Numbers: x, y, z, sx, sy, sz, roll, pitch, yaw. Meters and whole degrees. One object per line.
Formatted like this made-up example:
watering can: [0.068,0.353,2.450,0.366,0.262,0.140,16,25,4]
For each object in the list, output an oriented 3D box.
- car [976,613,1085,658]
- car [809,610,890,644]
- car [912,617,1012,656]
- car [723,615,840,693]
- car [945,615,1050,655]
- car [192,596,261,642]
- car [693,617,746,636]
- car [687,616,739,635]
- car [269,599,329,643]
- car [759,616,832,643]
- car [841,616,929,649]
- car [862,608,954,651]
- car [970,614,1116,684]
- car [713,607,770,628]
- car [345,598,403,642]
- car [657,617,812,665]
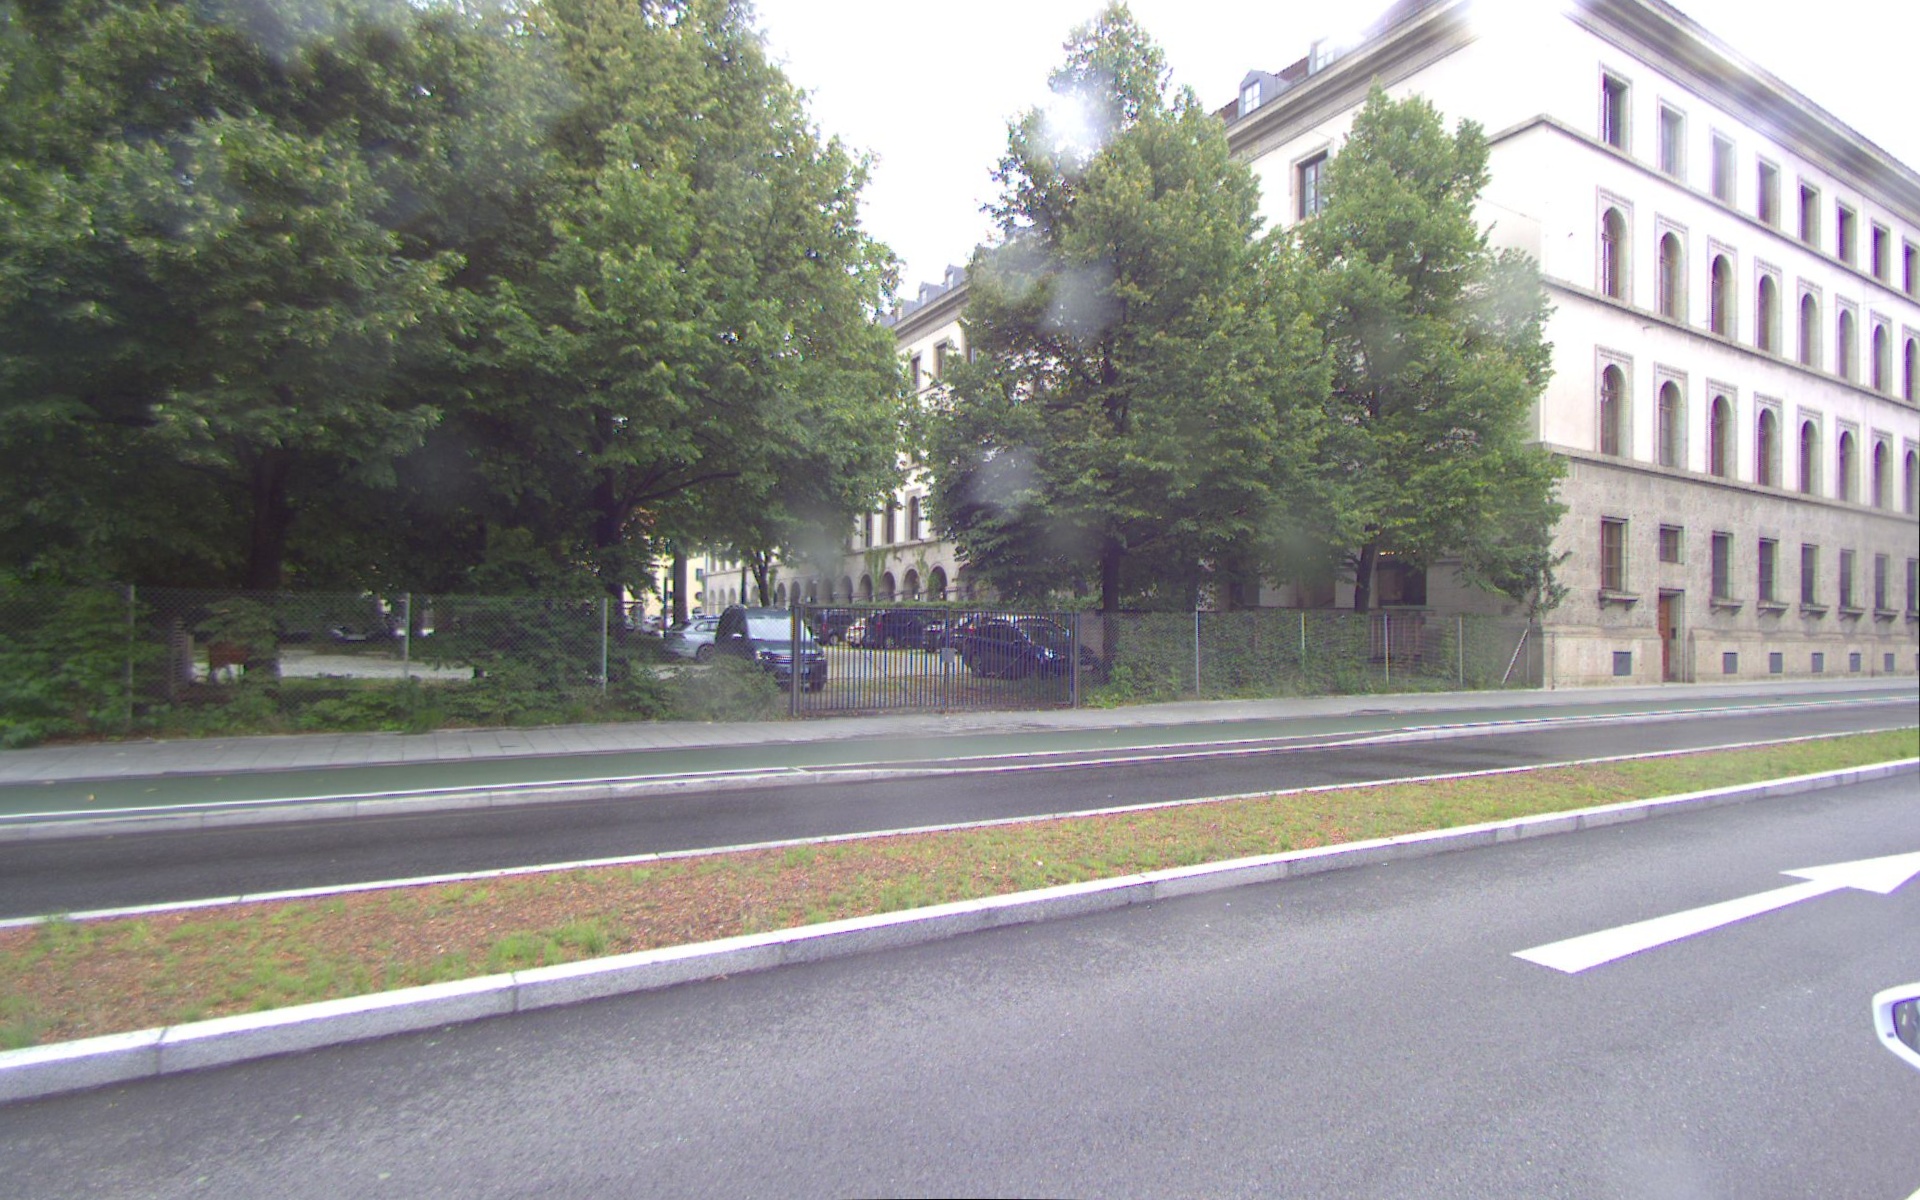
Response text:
car: [2.718,1.359,38.641,3.954,1.661,1.657,2,-1,-31]
car: [-5.896,1.460,53.703,3.954,1.755,1.761,2,-1,-31]
car: [0.111,1.558,42.839,3.954,1.564,1.761,2,-1,-31]
car: [-4.205,1.186,23.189,1.779,1.609,4.137,1,-2,-23]
car: [1.544,1.425,40.827,3.954,1.564,1.761,2,-1,-31]
car: [-29.390,0.760,40.375,1.979,1.742,3.964,2,-2,-33]
car: [-19.999,2.188,83.670,3.954,1.564,1.761,2,-1,-31]
car: [-21.119,2.155,85.872,3.954,1.564,1.761,2,-1,-31]
car: [-27.553,0.878,41.994,1.978,1.742,3.965,1,-1,-32]
car: [-9.781,1.771,59.863,3.954,1.564,1.761,2,-1,-31]
car: [-3.660,1.596,49.277,3.954,1.564,1.761,2,-1,-31]
car: [-2.439,1.398,47.238,3.949,1.954,1.838,1,-1,-27]
car: [2.104,1.246,26.547,1.783,1.671,4.243,1,-2,-30]
car: [-16.839,1.378,77.465,3.954,1.564,1.761,2,-1,-31]
car: [-24.947,0.851,42.724,1.978,1.742,3.965,1,-1,-32]
car: [-7.351,1.319,32.856,4.579,1.460,1.984,2,-1,-31]
